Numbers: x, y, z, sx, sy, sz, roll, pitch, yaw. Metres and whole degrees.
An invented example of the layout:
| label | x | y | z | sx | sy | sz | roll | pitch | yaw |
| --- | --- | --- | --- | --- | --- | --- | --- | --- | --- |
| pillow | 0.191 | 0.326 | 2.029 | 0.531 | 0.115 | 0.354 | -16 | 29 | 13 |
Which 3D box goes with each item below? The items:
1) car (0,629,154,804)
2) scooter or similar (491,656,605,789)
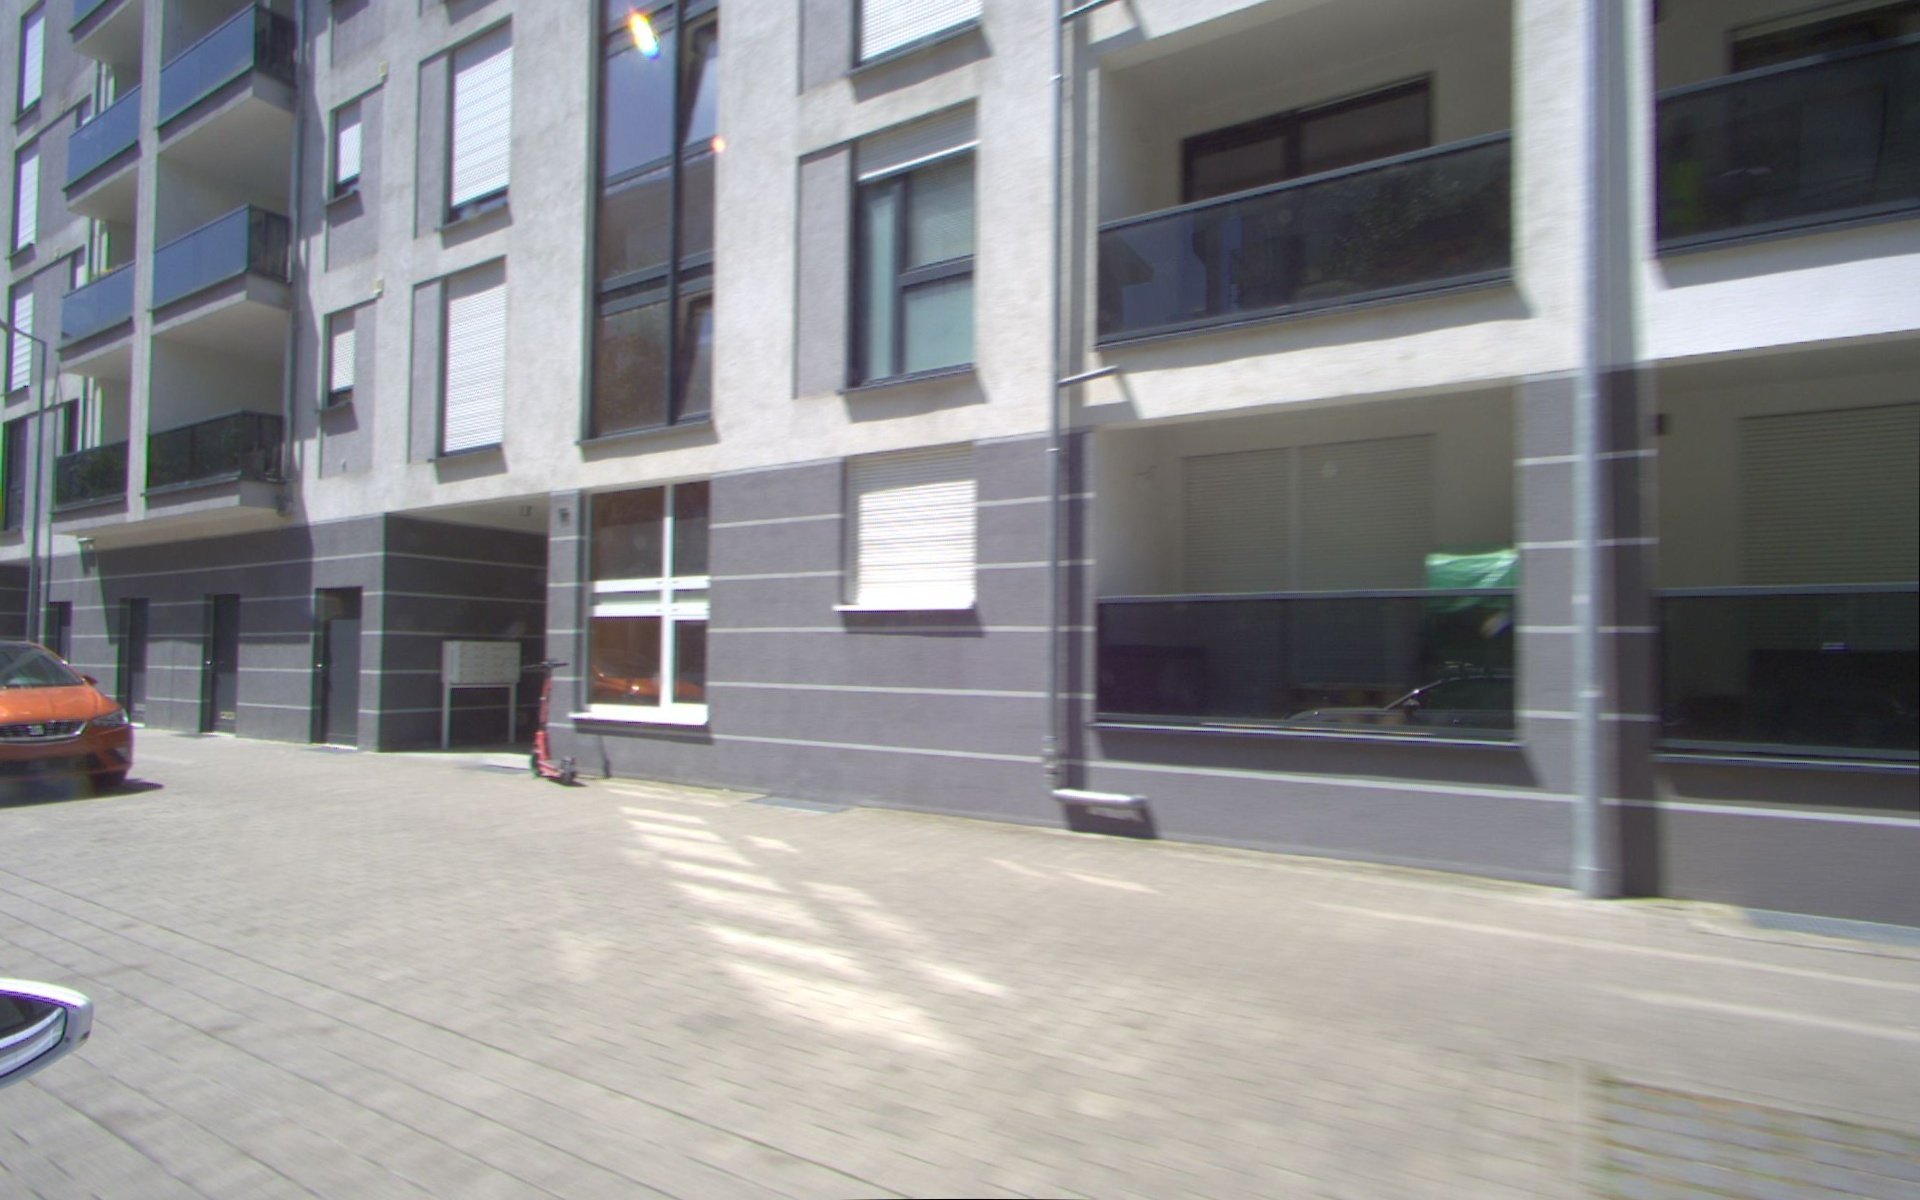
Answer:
| label | x | y | z | sx | sy | sz | roll | pitch | yaw |
| --- | --- | --- | --- | --- | --- | --- | --- | --- | --- |
| car | -9.960 | 1.051 | 9.996 | 4.198 | 1.506 | 1.734 | -1 | -2 | 32 |
| scooter or similar | -4.241 | 1.210 | 10.255 | 0.542 | 1.240 | 1.515 | 4 | -4 | -43 |
